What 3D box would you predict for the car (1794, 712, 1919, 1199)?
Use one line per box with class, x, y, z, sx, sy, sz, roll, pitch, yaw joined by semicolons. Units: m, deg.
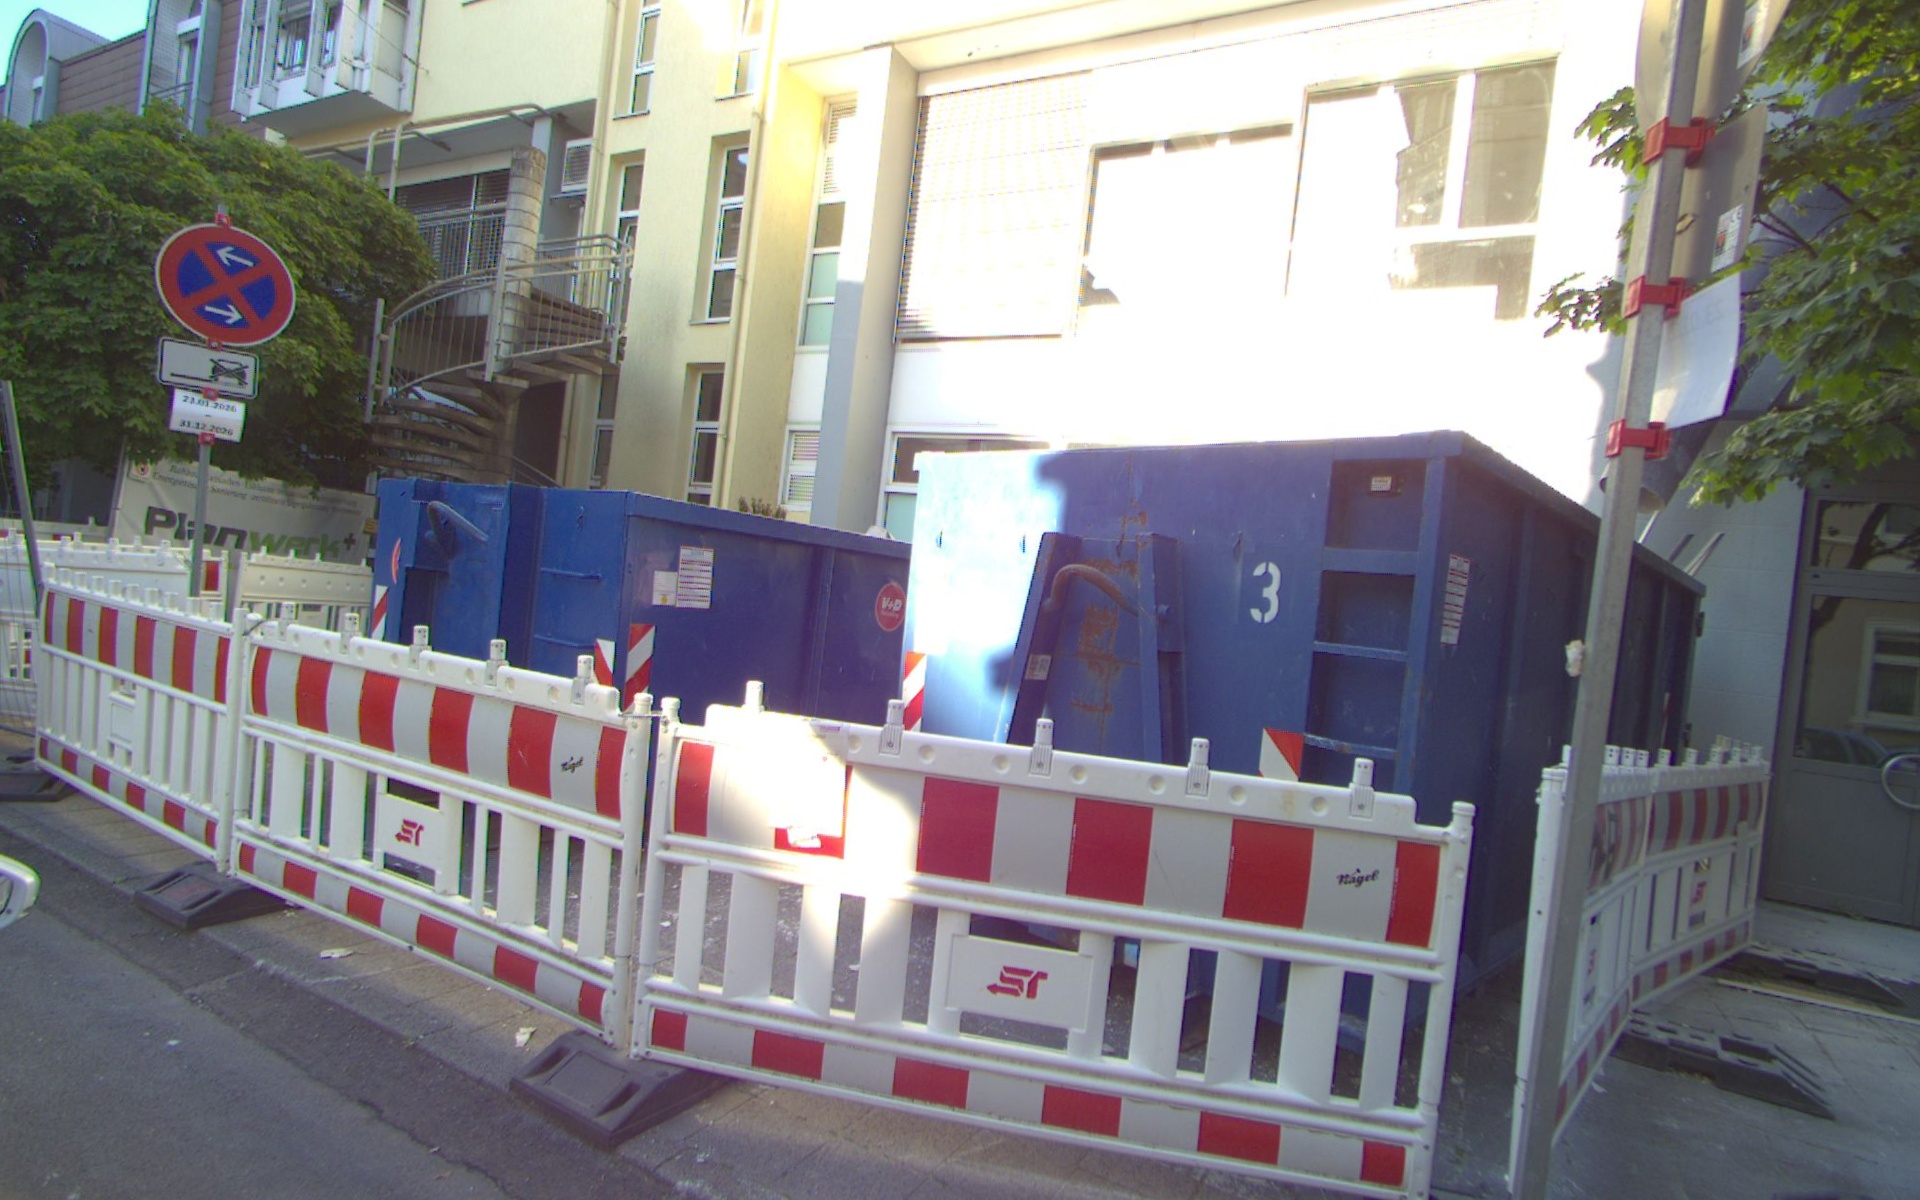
car;2.952;1.118;0.483;3.668;1.495;1.677;7;1;32
